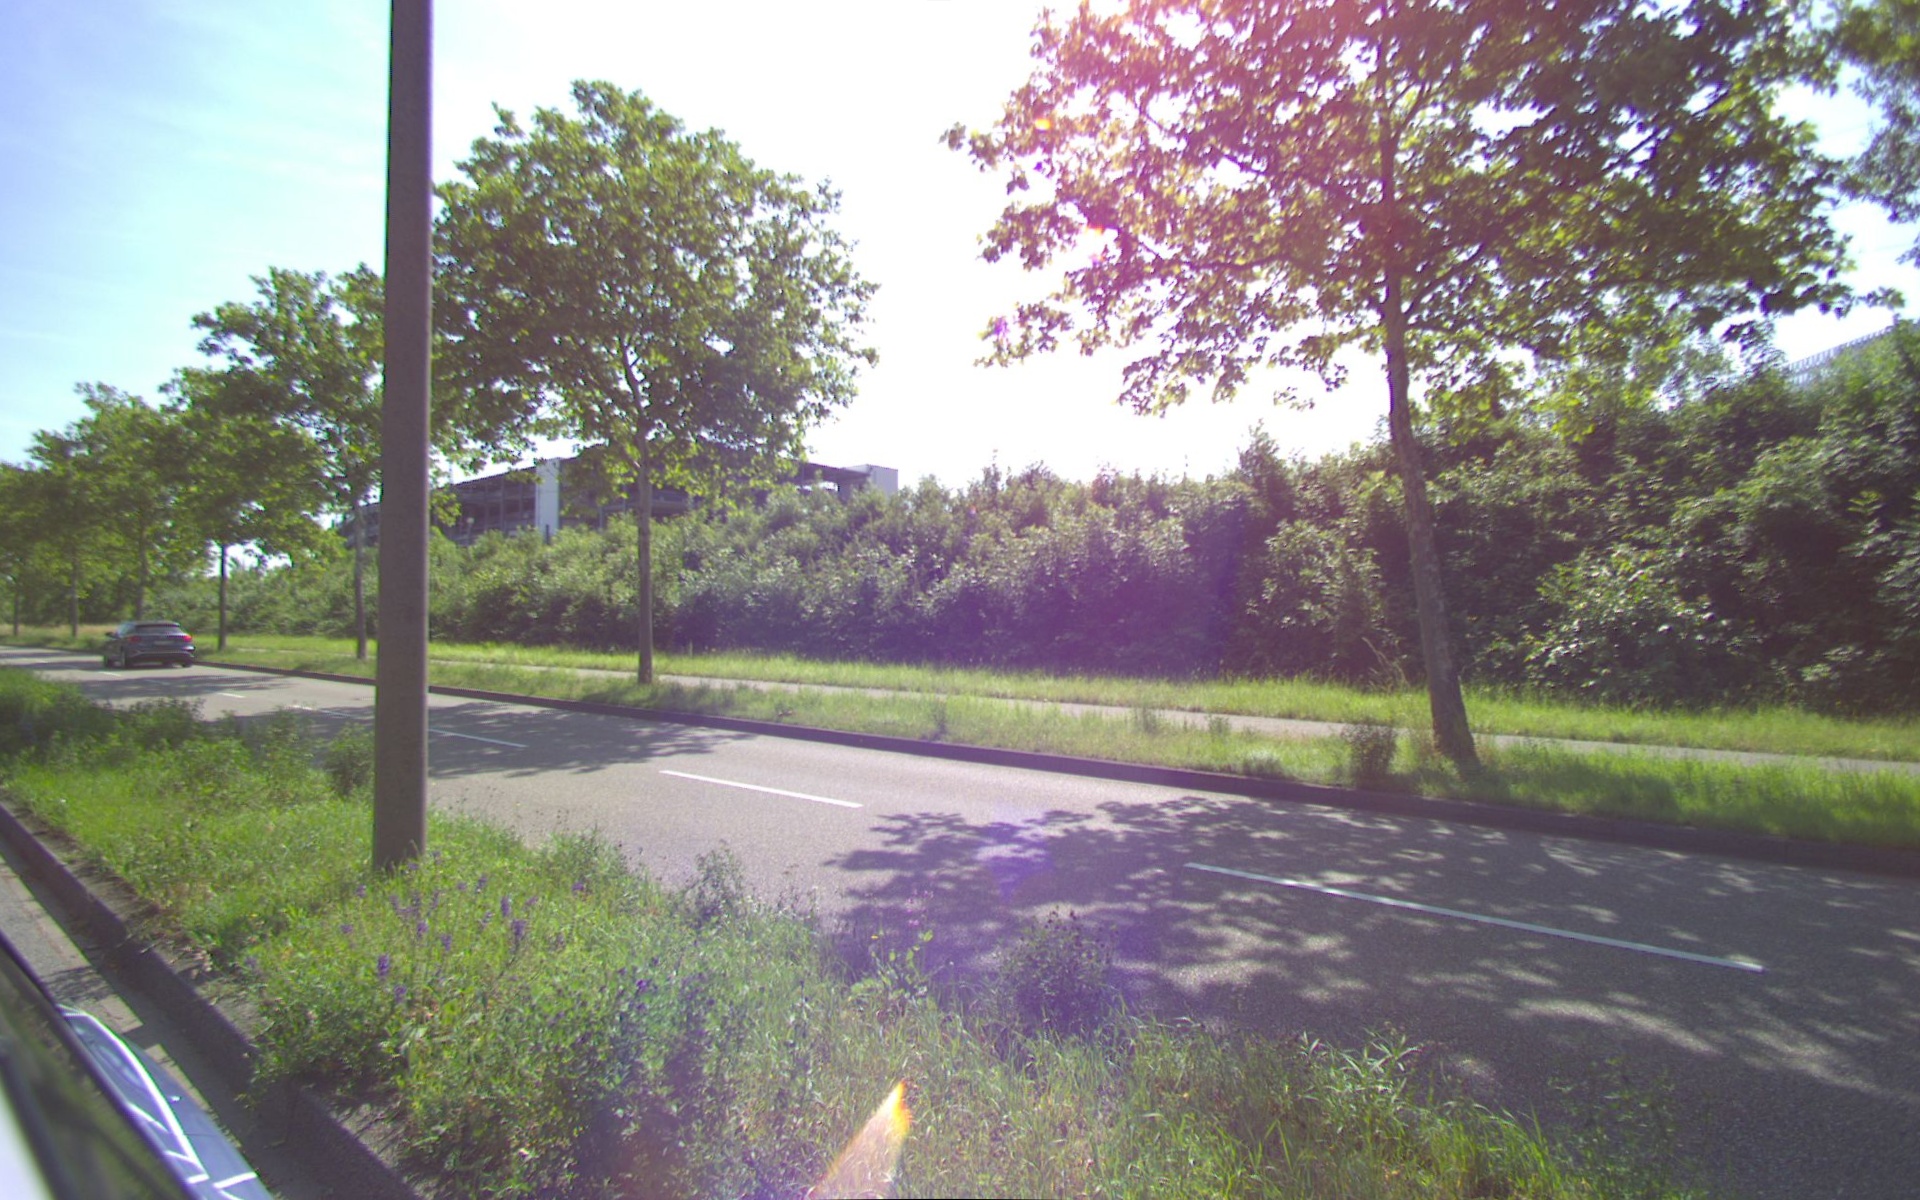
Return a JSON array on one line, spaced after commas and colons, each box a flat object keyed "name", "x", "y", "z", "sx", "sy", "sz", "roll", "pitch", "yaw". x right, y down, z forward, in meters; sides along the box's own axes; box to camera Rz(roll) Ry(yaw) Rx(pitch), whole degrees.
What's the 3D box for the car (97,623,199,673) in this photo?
[{"name": "car", "x": -26.139, "y": 1.494, "z": 32.552, "sx": 3.935, "sy": 1.478, "sz": 1.844, "roll": 0, "pitch": -1, "yaw": 40}]
